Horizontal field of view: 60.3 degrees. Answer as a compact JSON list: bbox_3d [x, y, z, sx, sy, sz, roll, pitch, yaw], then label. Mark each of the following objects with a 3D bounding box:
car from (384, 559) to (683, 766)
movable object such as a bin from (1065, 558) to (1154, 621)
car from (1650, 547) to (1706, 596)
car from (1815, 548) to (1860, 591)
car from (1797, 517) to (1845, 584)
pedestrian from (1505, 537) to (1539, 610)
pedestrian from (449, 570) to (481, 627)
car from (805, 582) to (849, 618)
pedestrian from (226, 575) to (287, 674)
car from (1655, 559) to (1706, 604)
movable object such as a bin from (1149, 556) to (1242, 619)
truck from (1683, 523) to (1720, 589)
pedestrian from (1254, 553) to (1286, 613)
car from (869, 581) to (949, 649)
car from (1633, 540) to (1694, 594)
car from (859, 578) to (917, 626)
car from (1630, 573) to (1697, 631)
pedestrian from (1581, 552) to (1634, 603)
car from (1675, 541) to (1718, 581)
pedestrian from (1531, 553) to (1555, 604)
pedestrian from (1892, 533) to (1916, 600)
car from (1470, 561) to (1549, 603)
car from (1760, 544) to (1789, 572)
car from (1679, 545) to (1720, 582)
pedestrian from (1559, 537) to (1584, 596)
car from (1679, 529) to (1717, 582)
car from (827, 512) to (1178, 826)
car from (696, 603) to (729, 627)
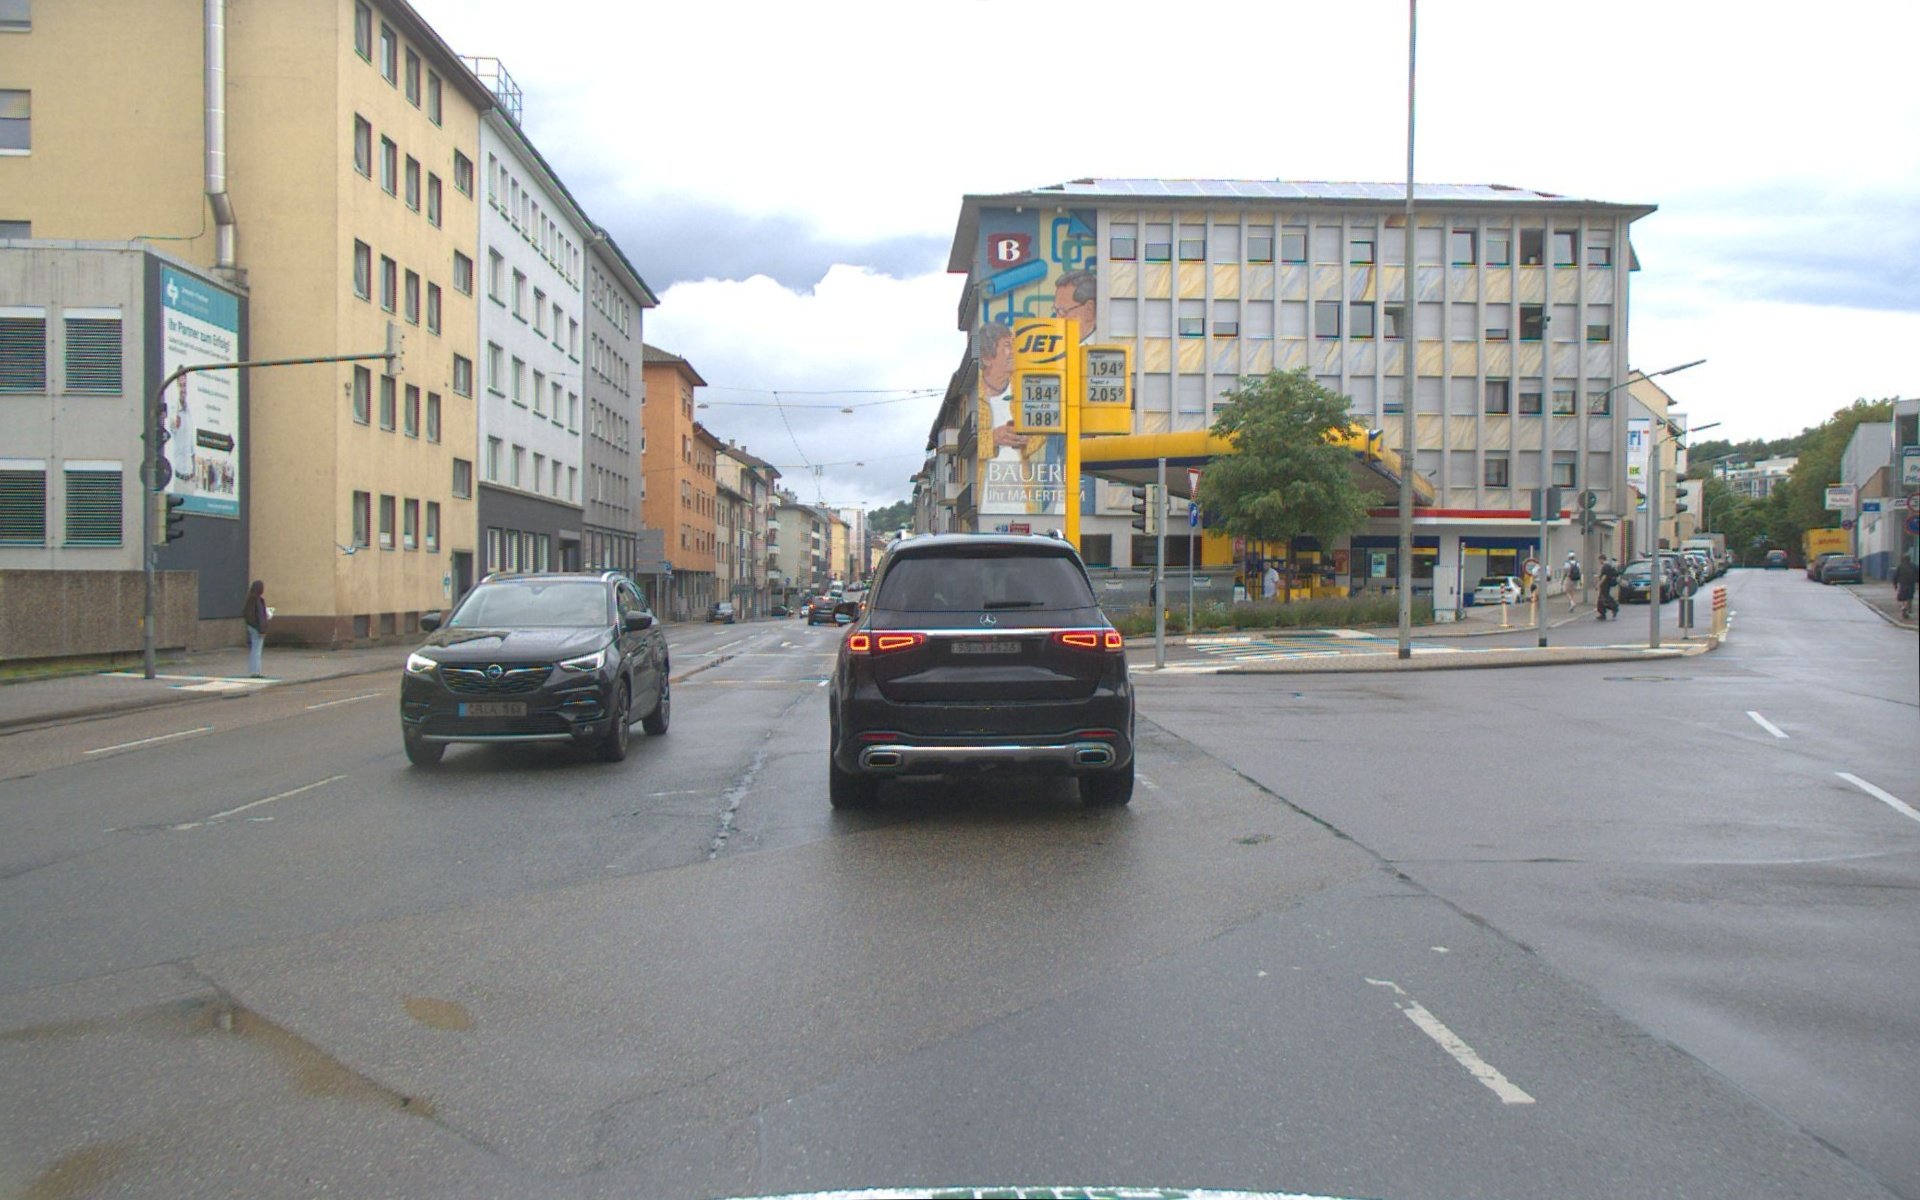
[{"bbox_3d":[-3.719,0.474,15.181,1.771,1.622,4.293,0,0,-2],"label":"car"},{"bbox_3d":[3.893,-0.277,43.293,2.112,1.602,1.772,0,0,-3],"label":"movable object such as a bin"},{"bbox_3d":[30.048,-1.165,69.159,1.954,1.897,4.576,2,0,25],"label":"car"},{"bbox_3d":[45.403,-1.548,85.602,1.955,2.049,3.995,2,0,28],"label":"car"},{"bbox_3d":[51.239,-2.936,98.467,2.330,3.752,4.989,2,0,26],"label":"car"},{"bbox_3d":[20.583,-0.957,60.578,0.984,2.611,1.150,2,0,11],"label":"pedestrian"},{"bbox_3d":[-15.296,-0.038,51.141,0.703,1.719,0.811,2,0,-1],"label":"pedestrian"},{"bbox_3d":[-6.676,-0.021,83.541,2.035,1.678,4.292,2,0,-3],"label":"car"},{"bbox_3d":[-12.566,0.437,29.579,0.703,1.719,0.811,2,0,-1],"label":"pedestrian"},{"bbox_3d":[32.731,-0.813,75.094,1.954,1.897,4.576,2,0,25],"label":"car"},{"bbox_3d":[6.182,-0.329,43.544,2.112,1.582,1.772,-1,0,-3],"label":"movable object such as a bin"},{"bbox_3d":[47.761,-2.797,106.519,1.954,3.982,5.481,2,0,25],"label":"truck"},{"bbox_3d":[8.480,-0.456,45.252,0.651,1.612,0.847,2,0,-1],"label":"pedestrian"},{"bbox_3d":[-1.442,0.370,45.113,2.035,1.678,4.292,2,0,-3],"label":"car"},{"bbox_3d":[26.882,-1.231,63.129,1.954,1.897,4.576,2,0,25],"label":"car"},{"bbox_3d":[-2.693,0.054,61.367,2.035,1.678,4.292,2,0,-3],"label":"car"},{"bbox_3d":[24.912,0.093,58.480,1.954,1.897,4.576,2,0,25],"label":"car"},{"bbox_3d":[18.135,-0.622,46.314,0.910,1.376,1.096,2,0,-44],"label":"pedestrian"},{"bbox_3d":[38.990,-2.045,87.542,1.954,1.897,4.576,2,0,25],"label":"car"},{"bbox_3d":[17.926,-0.659,50.872,0.570,1.541,0.472,2,0,-44],"label":"pedestrian"},{"bbox_3d":[25.339,-0.903,44.397,0.469,1.773,0.574,2,0,27],"label":"pedestrian"},{"bbox_3d":[22.252,-0.704,66.855,1.958,1.542,4.405,-1,-2,33],"label":"car"},{"bbox_3d":[63.606,-3.272,129.151,1.955,2.049,3.995,2,0,28],"label":"car"},{"bbox_3d":[41.516,-2.042,92.821,1.954,1.897,4.576,2,0,25],"label":"car"},{"bbox_3d":[18.732,-1.022,50.680,0.663,1.788,0.732,2,0,20],"label":"pedestrian"},{"bbox_3d":[44.611,-2.649,99.902,1.954,3.025,4.576,2,0,25],"label":"car"},{"bbox_3d":[0.131,0.394,12.099,2.035,1.796,4.608,2,0,-3],"label":"car"},{"bbox_3d":[-16.724,0.979,111.907,1.854,1.484,4.545,2,0,-5],"label":"car"}]
